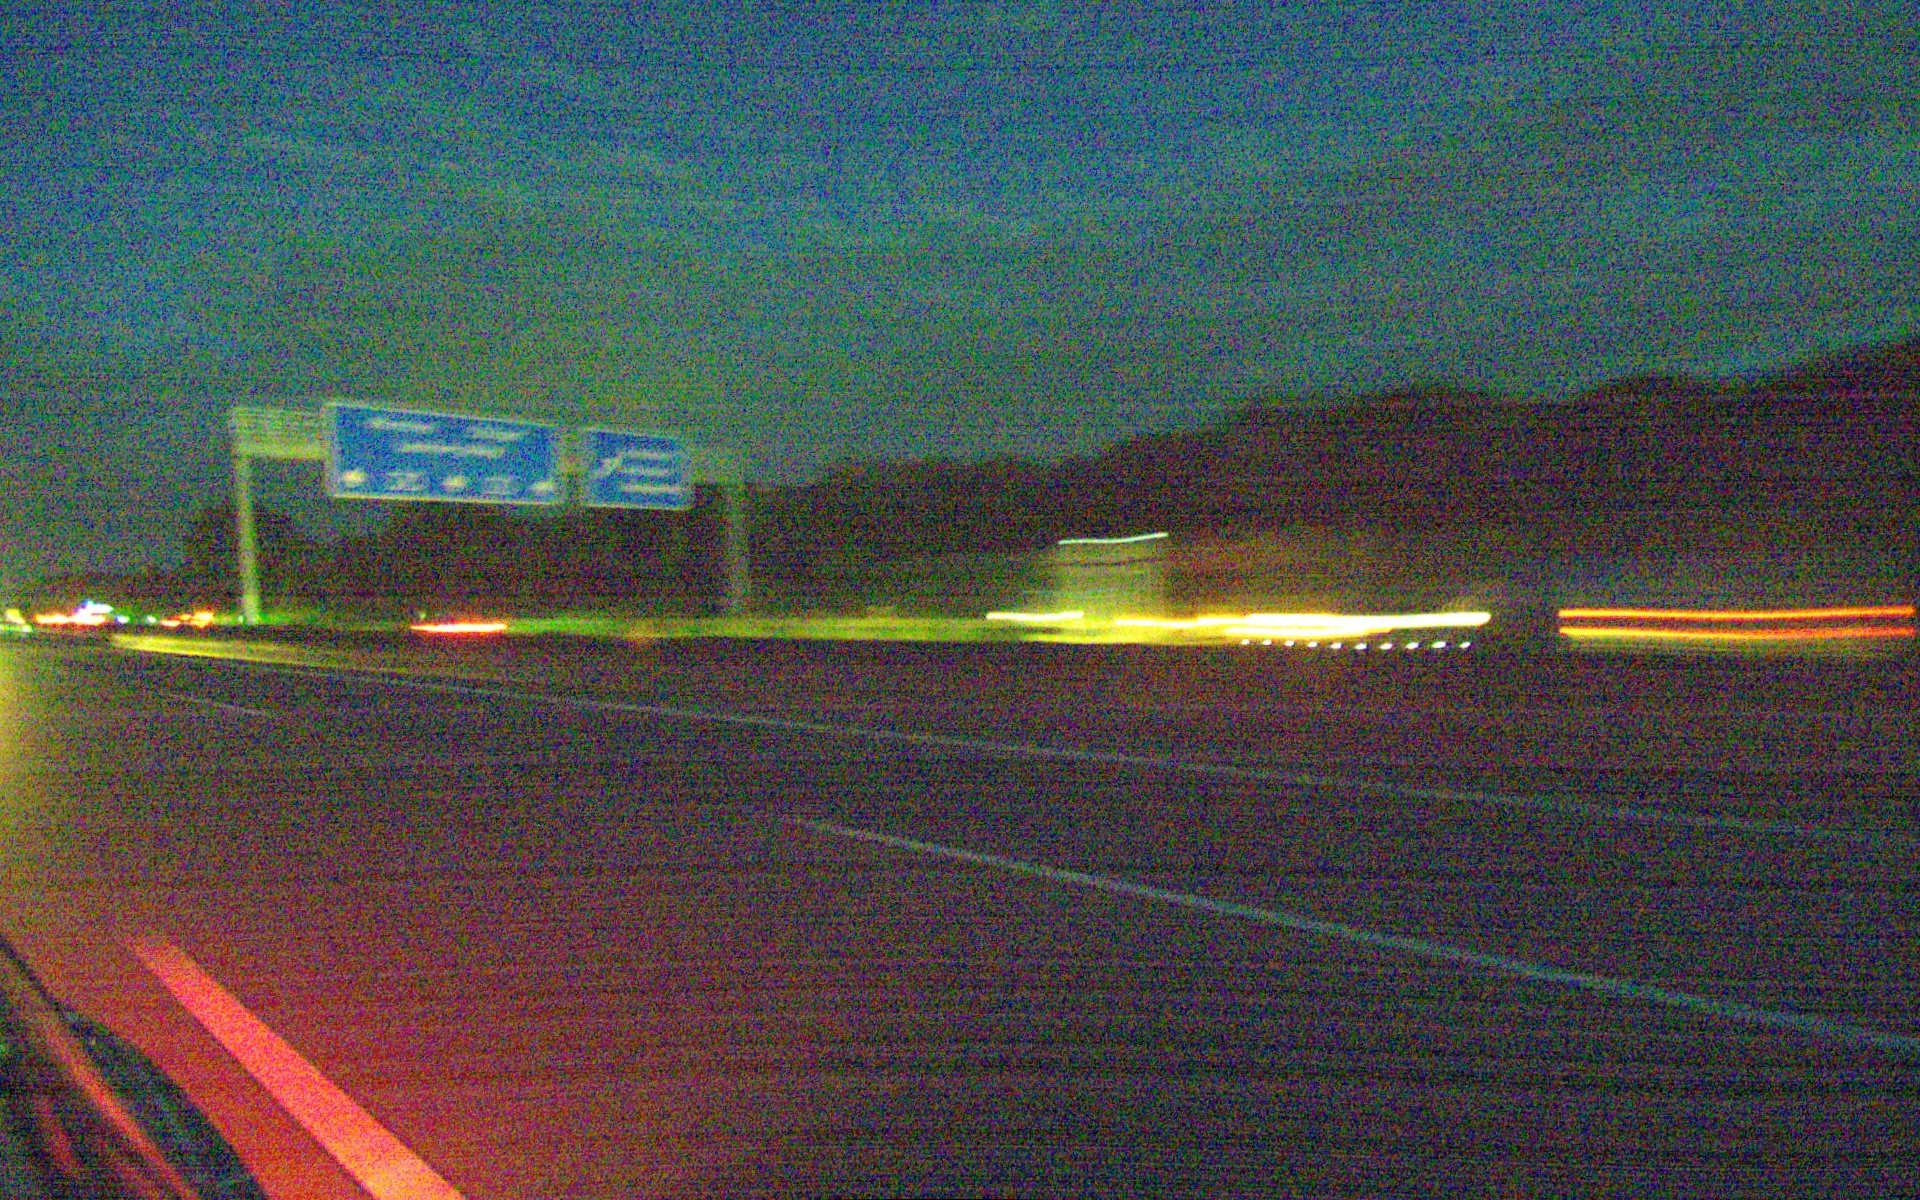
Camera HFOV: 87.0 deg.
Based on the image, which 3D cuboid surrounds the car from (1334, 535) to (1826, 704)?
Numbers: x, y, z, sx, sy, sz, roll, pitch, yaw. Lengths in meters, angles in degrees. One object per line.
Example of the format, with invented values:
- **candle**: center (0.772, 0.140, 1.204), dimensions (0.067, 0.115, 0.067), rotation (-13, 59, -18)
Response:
- **car**: center (8.244, 0.264, 13.917), dimensions (5.416, 1.899, 2.125), rotation (-1, 0, 38)

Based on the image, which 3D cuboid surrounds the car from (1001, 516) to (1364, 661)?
- **car**: center (5.013, -0.167, 24.267), dimensions (8.329, 2.958, 2.432), rotation (-1, 0, 41)

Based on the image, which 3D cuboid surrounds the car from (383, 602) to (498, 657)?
- **car**: center (-17.905, 0.980, 34.786), dimensions (4.658, 1.747, 1.972), rotation (-1, 0, 42)

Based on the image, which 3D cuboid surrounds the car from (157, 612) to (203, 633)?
- **car**: center (-61.829, 1.792, 80.170), dimensions (5.183, 1.520, 1.972), rotation (-1, 0, 42)

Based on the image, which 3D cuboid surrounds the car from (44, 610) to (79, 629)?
- **car**: center (-84.492, 1.854, 95.179), dimensions (4.658, 1.747, 1.972), rotation (-1, 0, 42)

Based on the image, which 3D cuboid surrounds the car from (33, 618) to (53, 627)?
- **car**: center (-154.710, 3.762, 170.733), dimensions (3.997, 1.520, 1.973), rotation (-1, 0, 40)

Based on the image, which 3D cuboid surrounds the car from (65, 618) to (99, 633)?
- **car**: center (-94.807, 2.770, 109.199), dimensions (5.198, 1.520, 1.973), rotation (-1, 0, 40)

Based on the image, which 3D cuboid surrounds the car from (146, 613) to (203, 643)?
- **car**: center (-48.578, 1.700, 62.578), dimensions (4.658, 1.747, 1.972), rotation (-1, 0, 42)
